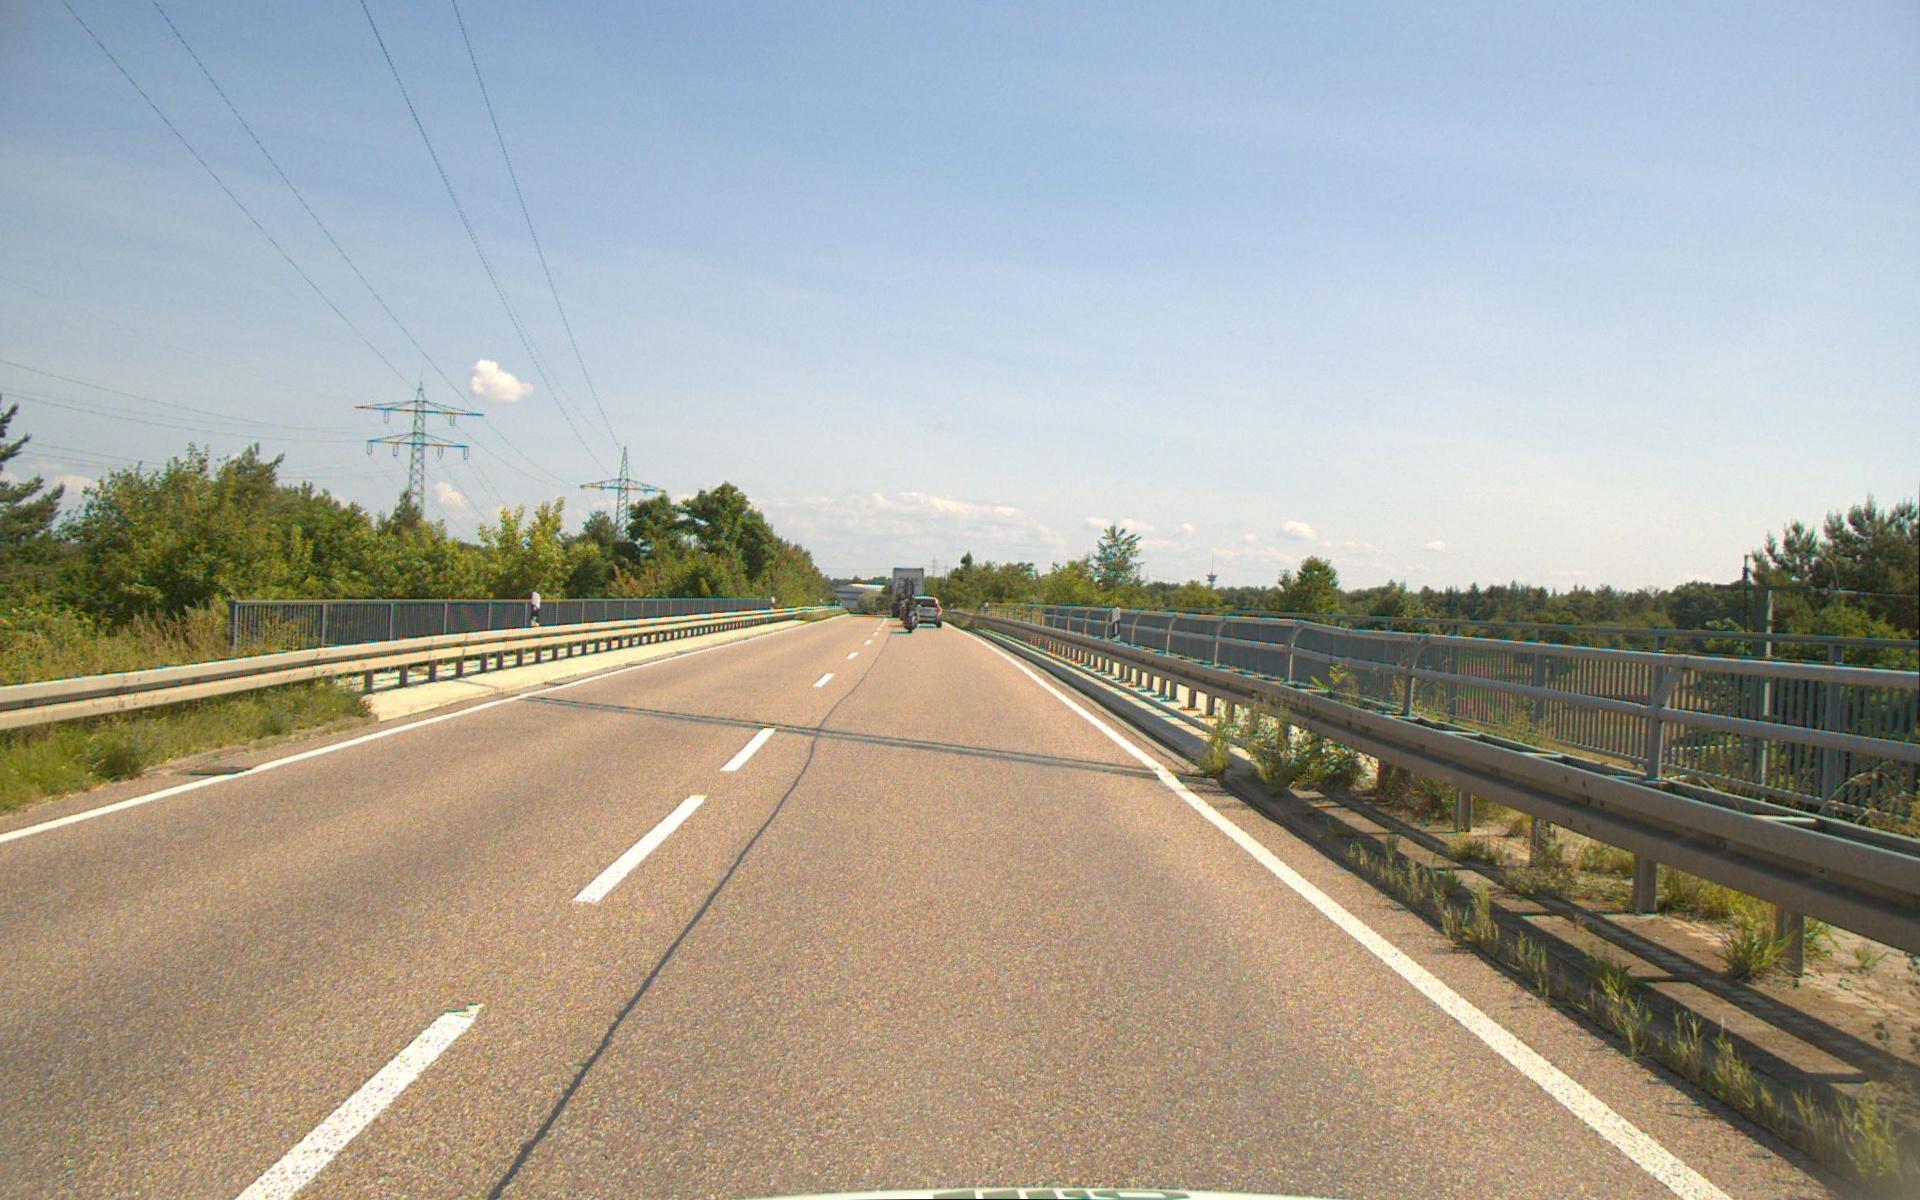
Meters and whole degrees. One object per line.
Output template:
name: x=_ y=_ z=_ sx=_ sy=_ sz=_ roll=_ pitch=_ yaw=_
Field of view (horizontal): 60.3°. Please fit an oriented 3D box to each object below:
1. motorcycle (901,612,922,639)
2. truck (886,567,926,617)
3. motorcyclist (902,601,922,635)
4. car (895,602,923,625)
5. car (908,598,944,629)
motorcycle: x=-1.973 y=1.033 z=67.734 sx=0.764 sy=0.992 sz=2.361 roll=1 pitch=1 yaw=0
truck: x=-4.569 y=-0.673 z=141.137 sx=3.176 sy=4.048 sz=9.442 roll=1 pitch=0 yaw=-1
motorcyclist: x=-1.956 y=0.723 z=67.753 sx=0.764 sy=1.349 sz=0.813 roll=1 pitch=0 yaw=0
car: x=-3.495 y=0.938 z=113.898 sx=1.828 sy=1.445 sz=4.000 roll=2 pitch=0 yaw=0
car: x=-1.761 y=0.676 z=86.187 sx=1.788 sy=1.477 sz=4.000 roll=1 pitch=1 yaw=-1
